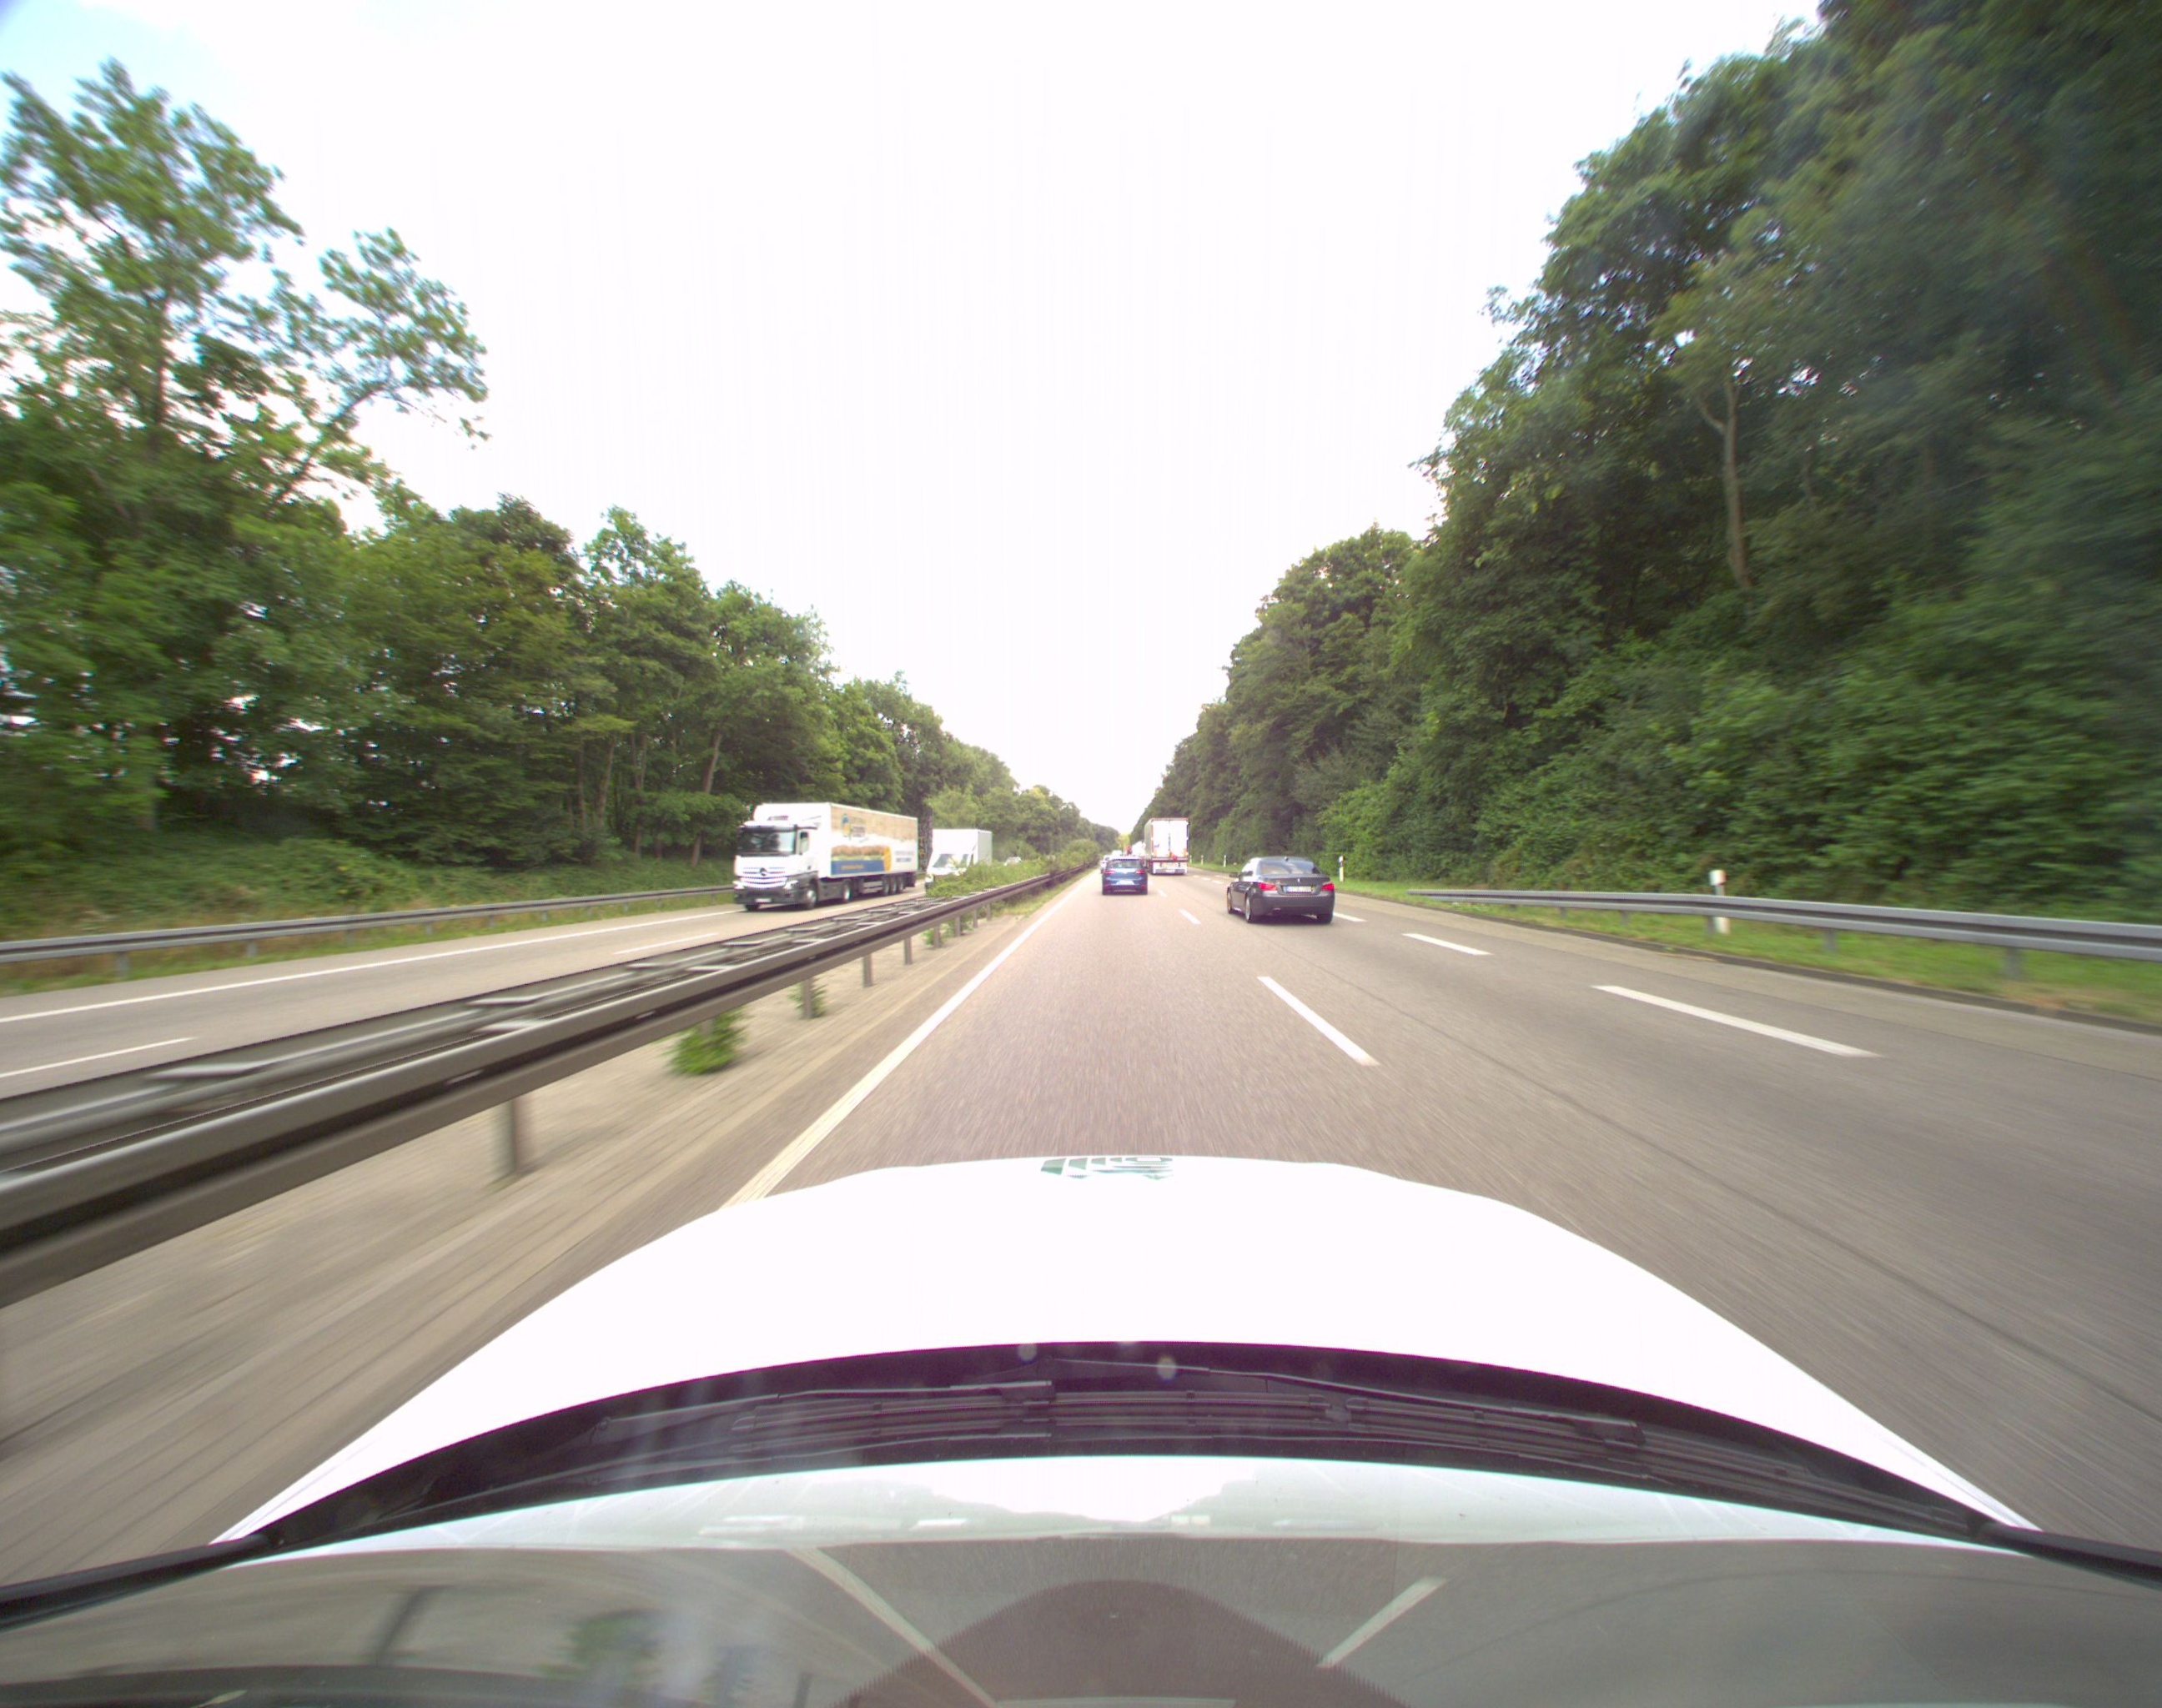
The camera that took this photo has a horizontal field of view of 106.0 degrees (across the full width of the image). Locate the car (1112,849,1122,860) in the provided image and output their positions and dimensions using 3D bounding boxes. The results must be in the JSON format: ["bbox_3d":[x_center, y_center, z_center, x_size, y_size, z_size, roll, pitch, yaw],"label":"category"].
[{"bbox_3d":[7.792,0.135,176.540,1.987,2.255,4.441,-2,0,0],"label":"car"}]

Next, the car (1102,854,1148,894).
[{"bbox_3d":[1.705,0.753,32.023,1.698,1.470,4.002,0,0,2],"label":"car"}]

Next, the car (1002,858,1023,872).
[{"bbox_3d":[-7.981,1.272,95.581,1.820,1.661,4.598,0,0,3],"label":"car"}]

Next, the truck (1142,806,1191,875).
[{"bbox_3d":[6.357,-0.973,62.021,3.227,4.716,11.019,-2,0,4],"label":"truck"}]

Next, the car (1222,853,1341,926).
[{"bbox_3d":[4.512,0.725,19.057,1.767,1.475,4.883,0,0,2],"label":"car"}]

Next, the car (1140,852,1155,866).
[{"bbox_3d":[8.654,0.668,106.321,1.881,1.729,4.003,-2,0,3],"label":"car"}]

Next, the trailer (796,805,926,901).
[{"bbox_3d":[-10.324,0.008,39.723,3.046,4.042,9.982,-1,-1,3],"label":"trailer"}]

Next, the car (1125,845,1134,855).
[{"bbox_3d":[11.693,-0.877,195.992,1.987,2.327,4.442,-2,0,0],"label":"car"}]

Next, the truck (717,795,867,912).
[{"bbox_3d":[-10.812,-0.009,31.358,3.028,3.986,6.753,-1,0,3],"label":"truck"}]

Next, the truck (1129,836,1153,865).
[{"bbox_3d":[9.693,-0.502,132.847,3.220,4.386,12.975,-1,-1,2],"label":"truck"}]

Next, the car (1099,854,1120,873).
[{"bbox_3d":[2.333,0.756,65.918,1.658,1.500,4.155,-1,0,3],"label":"car"}]

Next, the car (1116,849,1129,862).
[{"bbox_3d":[6.792,0.284,133.710,1.947,2.013,4.002,-2,0,2],"label":"car"}]

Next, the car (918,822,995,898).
[{"bbox_3d":[-5.811,0.253,39.141,2.279,3.232,7.289,-2,0,2],"label":"car"}]
